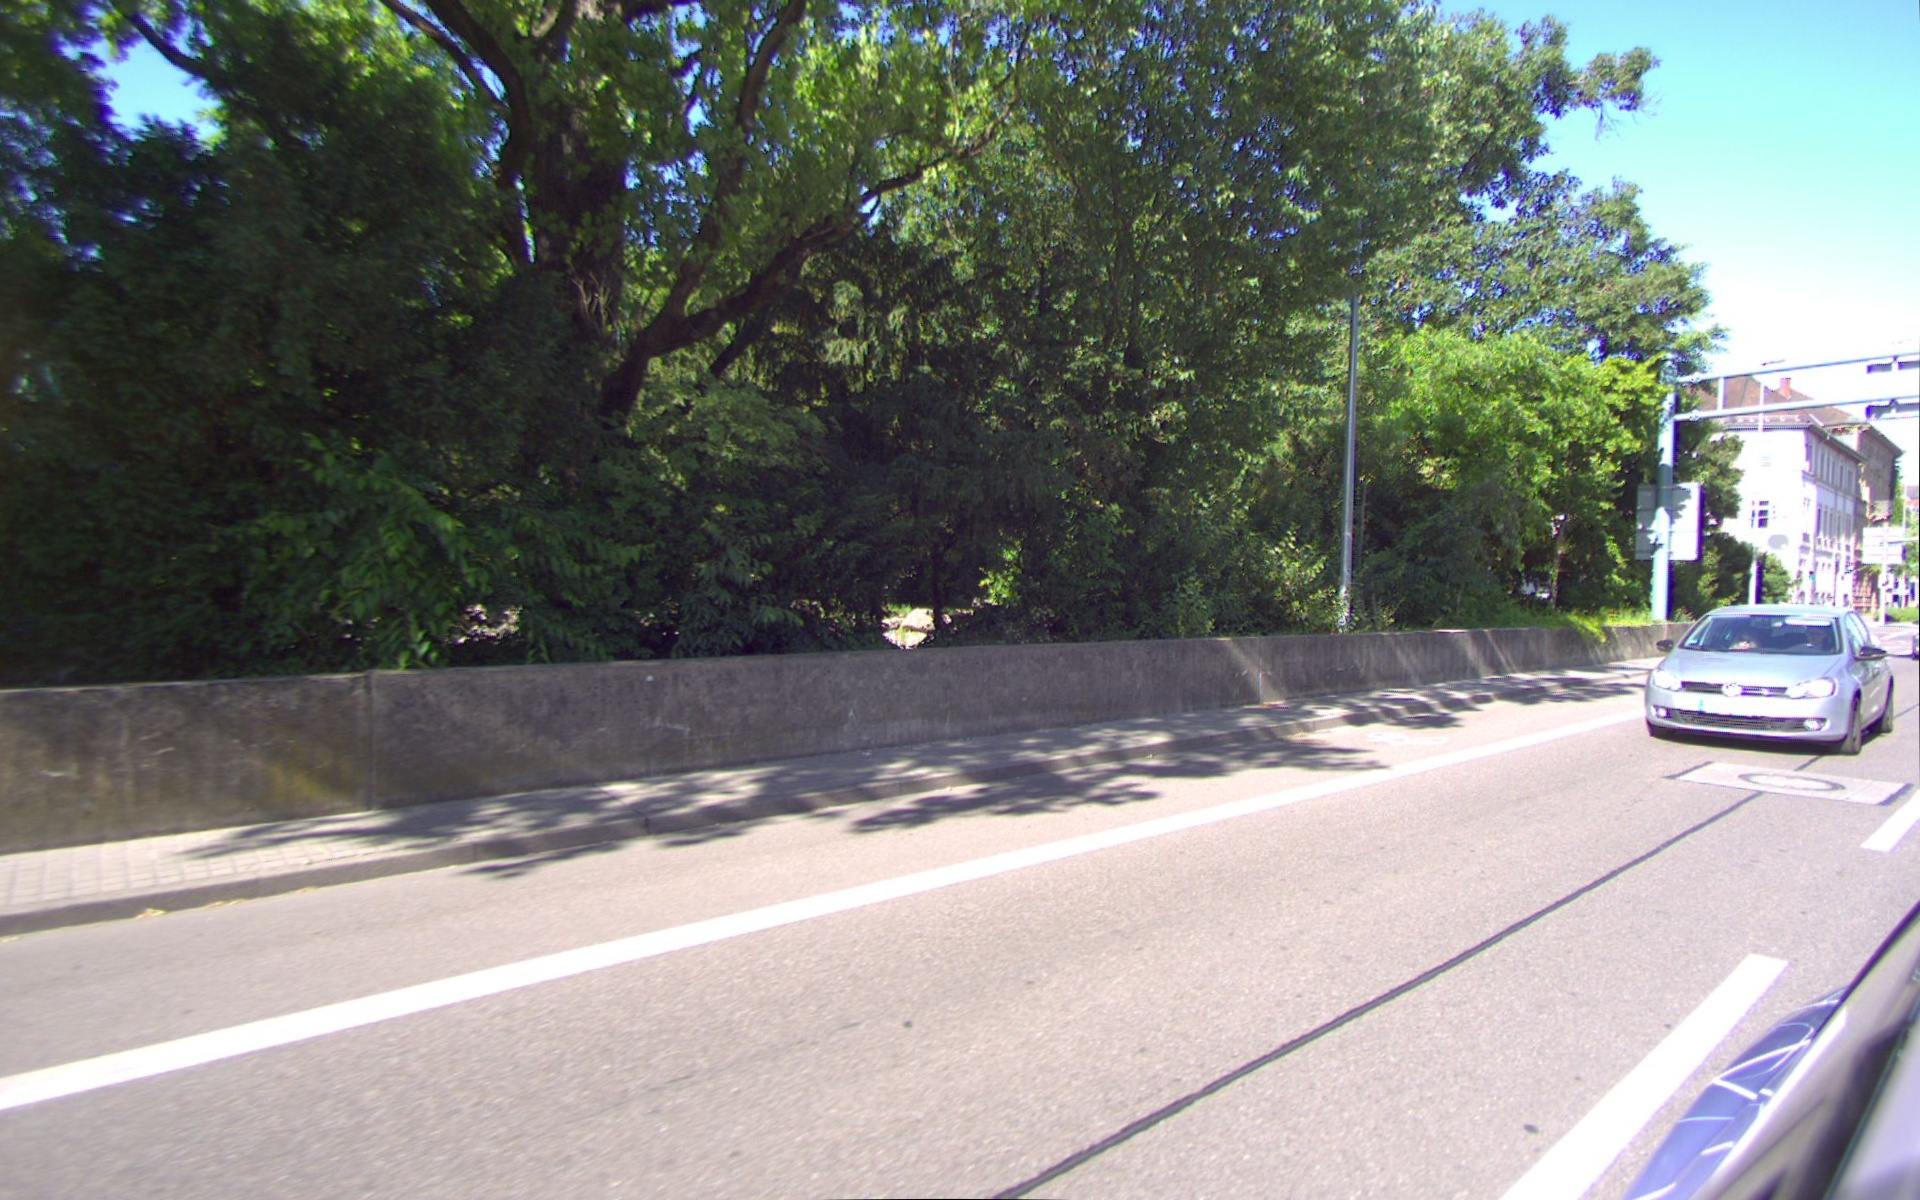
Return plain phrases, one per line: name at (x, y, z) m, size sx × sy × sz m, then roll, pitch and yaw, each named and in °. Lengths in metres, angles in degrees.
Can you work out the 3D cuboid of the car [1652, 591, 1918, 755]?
car at (9.269, 0.657, 11.267) m, size 3.931 × 1.493 × 1.701 m, roll 0°, pitch 1°, yaw -42°
